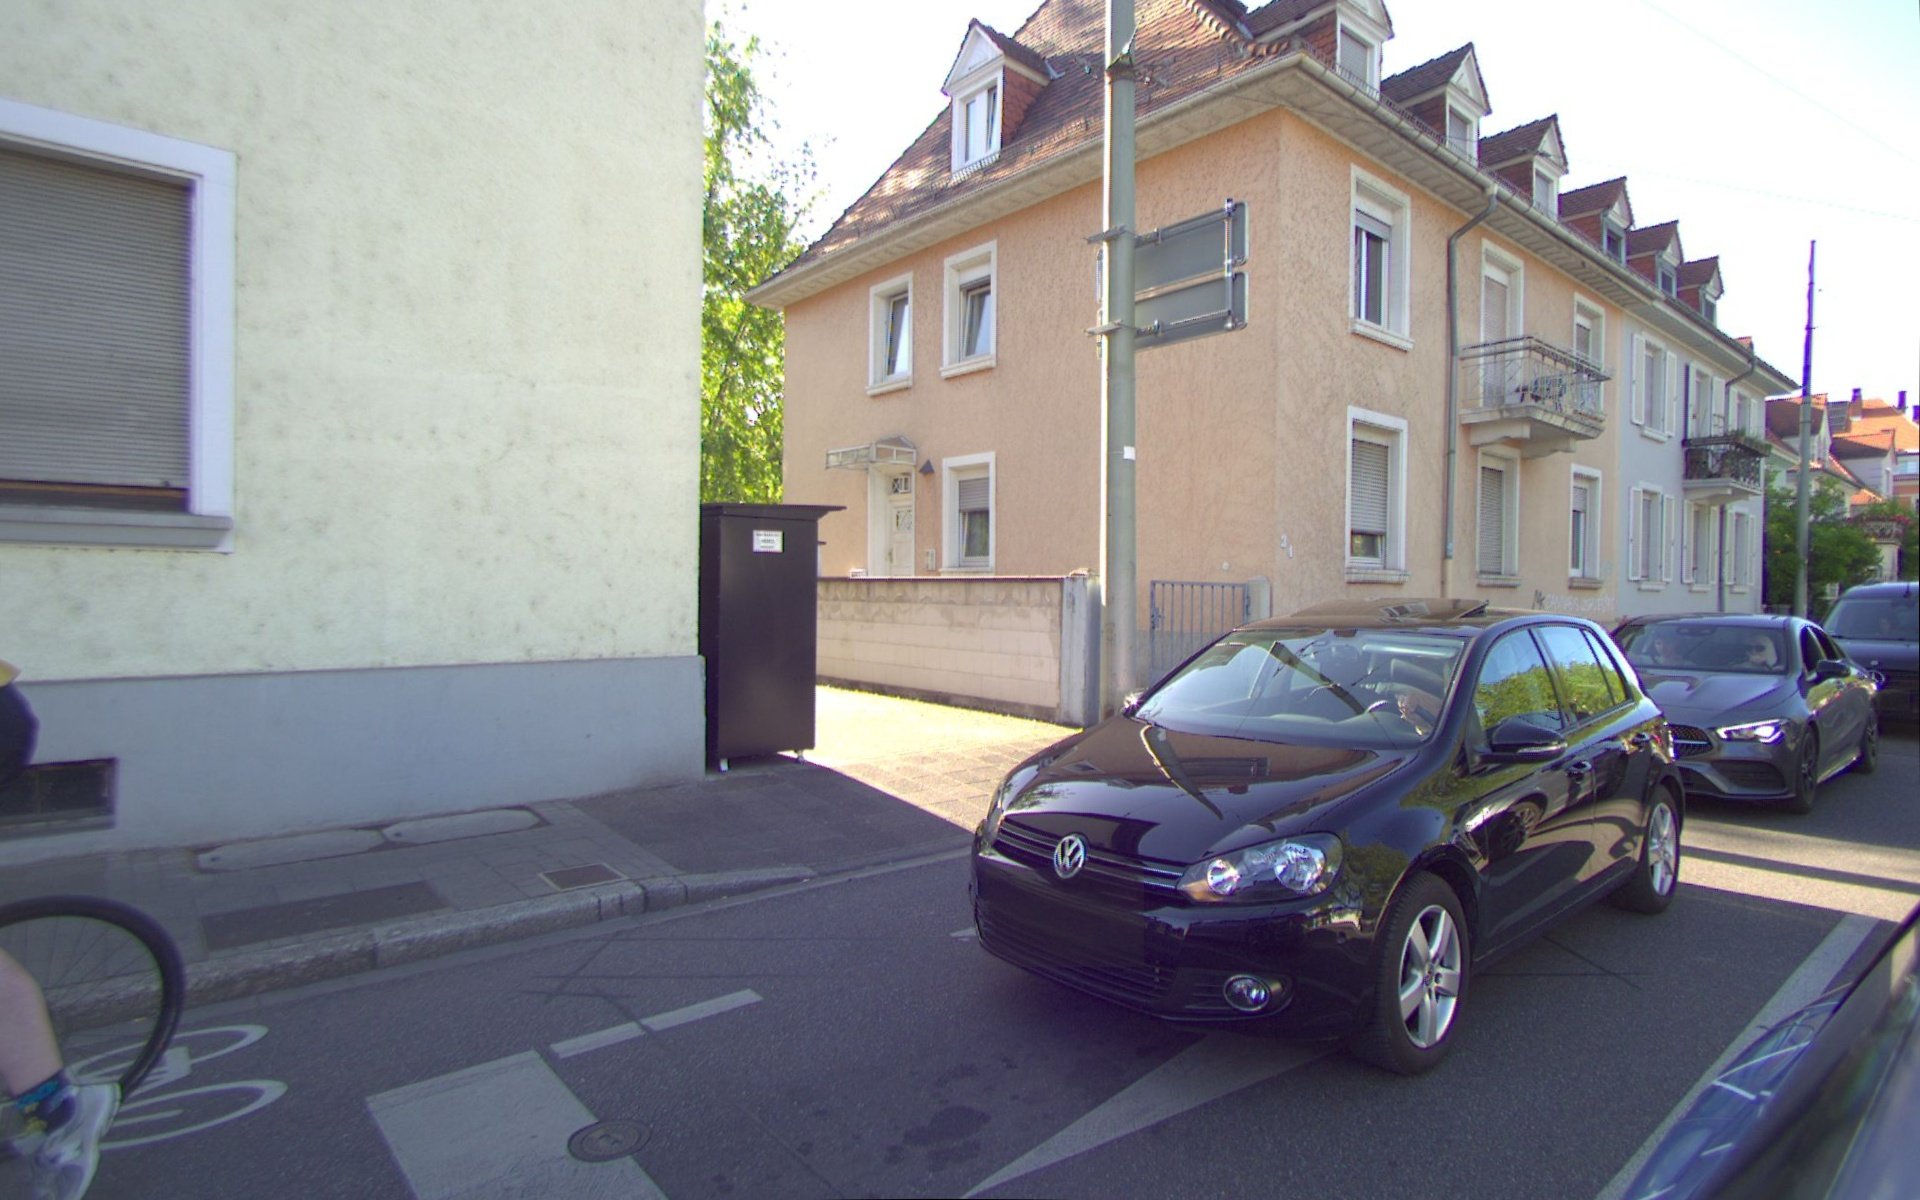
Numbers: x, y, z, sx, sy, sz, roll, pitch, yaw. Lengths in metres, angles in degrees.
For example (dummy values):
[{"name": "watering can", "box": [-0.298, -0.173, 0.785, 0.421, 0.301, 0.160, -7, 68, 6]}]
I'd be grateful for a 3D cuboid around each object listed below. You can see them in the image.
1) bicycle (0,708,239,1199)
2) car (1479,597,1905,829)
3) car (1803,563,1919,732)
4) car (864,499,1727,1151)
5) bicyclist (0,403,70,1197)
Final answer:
[{"name": "bicycle", "box": [-2.662, 0.857, 2.194, 1.749, 1.044, 0.756, -1, 0, -40]}, {"name": "car", "box": [6.358, 0.713, 8.595, 4.413, 1.437, 1.911, -1, 0, -40]}, {"name": "car", "box": [12.142, 0.489, 12.548, 4.695, 1.827, 1.864, -1, 0, -41]}, {"name": "car", "box": [1.724, 0.571, 4.349, 3.979, 1.527, 1.731, 2, -1, -41]}, {"name": "bicyclist", "box": [-2.561, 0.425, 2.232, 0.868, 1.684, 0.807, 0, 0, -40]}]
